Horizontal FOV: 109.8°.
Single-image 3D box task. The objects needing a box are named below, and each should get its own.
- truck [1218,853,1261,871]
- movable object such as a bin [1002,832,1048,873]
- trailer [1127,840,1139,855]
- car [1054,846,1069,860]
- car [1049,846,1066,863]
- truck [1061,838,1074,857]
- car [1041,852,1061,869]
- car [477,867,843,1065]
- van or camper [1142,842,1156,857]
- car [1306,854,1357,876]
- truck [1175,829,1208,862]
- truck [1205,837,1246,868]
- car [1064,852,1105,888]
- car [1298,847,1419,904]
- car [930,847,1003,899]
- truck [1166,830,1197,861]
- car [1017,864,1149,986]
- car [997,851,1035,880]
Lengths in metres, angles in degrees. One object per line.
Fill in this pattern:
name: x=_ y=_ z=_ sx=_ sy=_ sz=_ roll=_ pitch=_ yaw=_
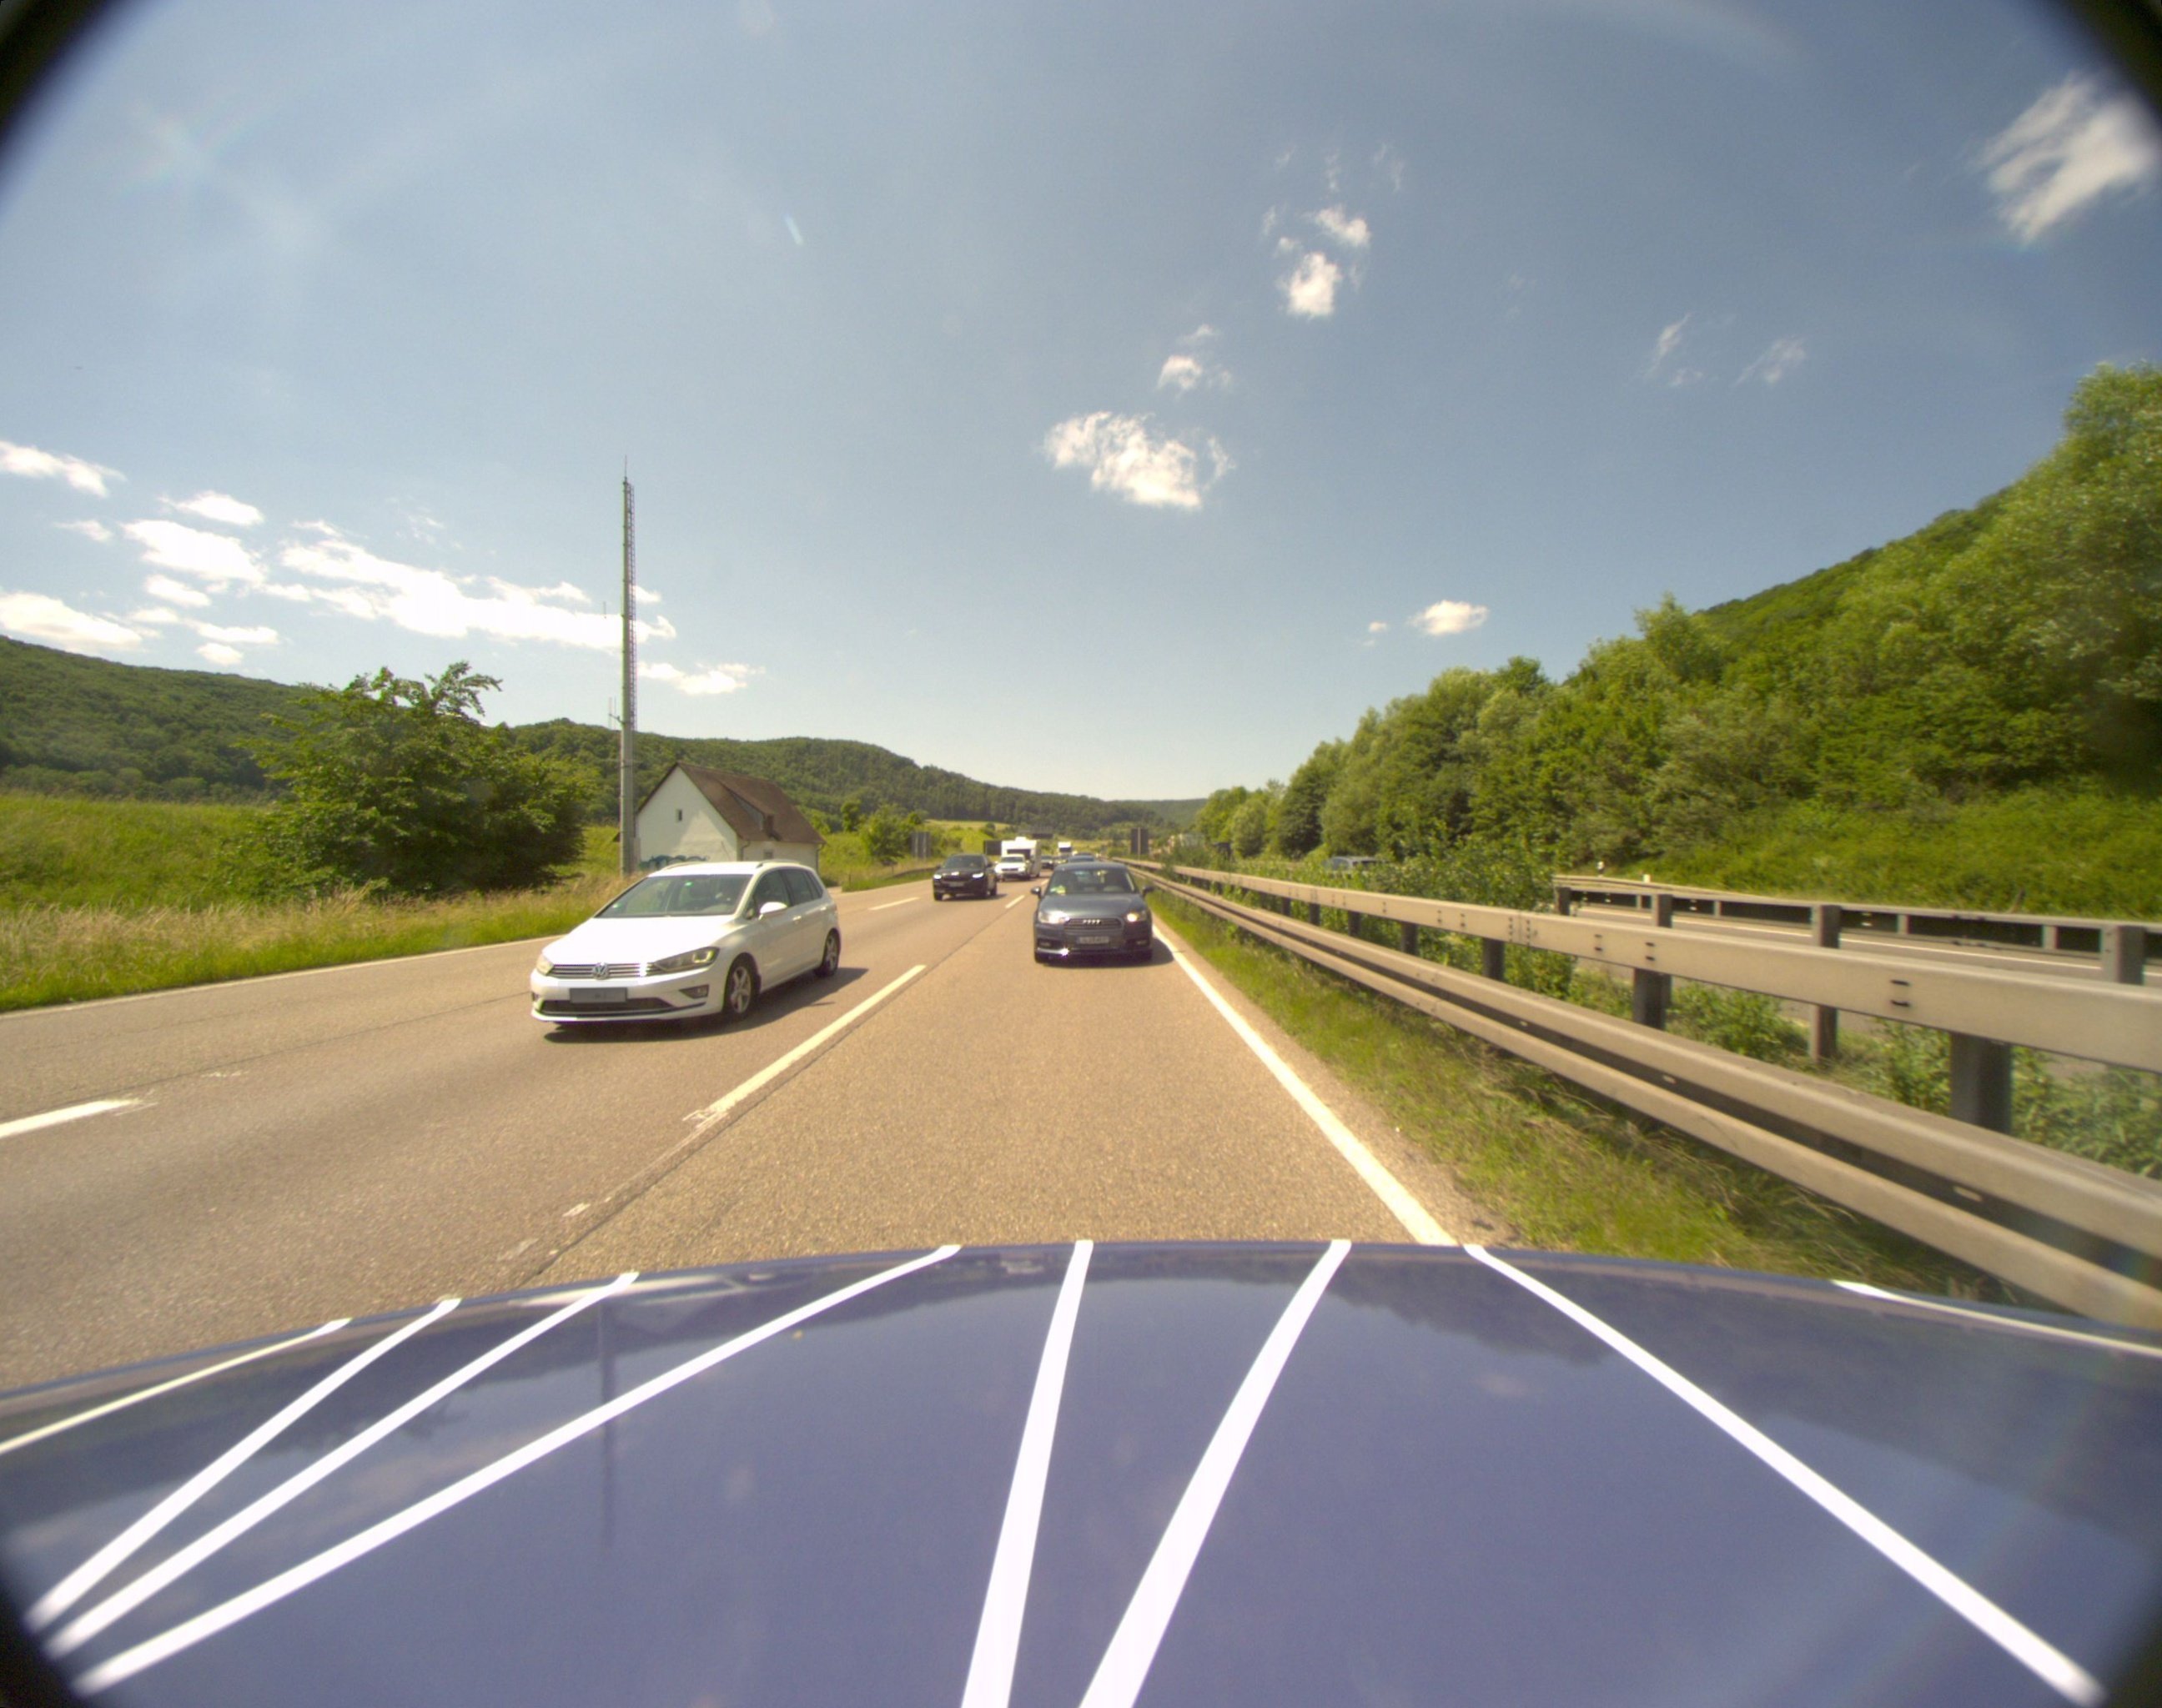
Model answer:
truck: x=12.491 y=0.586 z=60.383 sx=2.214 sy=1.326 sz=7.010 roll=-1 pitch=0 yaw=3
movable object such as a bin: x=-3.810 y=-0.132 z=52.688 sx=2.481 sy=2.616 sz=6.709 roll=-1 pitch=0 yaw=1
trailer: x=14.698 y=-1.769 z=215.447 sx=2.789 sy=3.976 sz=14.160 roll=0 pitch=0 yaw=1
car: x=-2.772 y=-0.158 z=110.511 sx=1.998 sy=2.002 sz=3.999 roll=-1 pitch=1 yaw=0
car: x=-2.855 y=0.043 z=91.709 sx=1.999 sy=2.002 sz=3.998 roll=-1 pitch=1 yaw=-3
truck: x=-2.675 y=-1.357 z=151.621 sx=2.336 sy=3.623 sz=7.005 roll=-1 pitch=0 yaw=1
car: x=-2.862 y=0.599 z=72.940 sx=1.711 sy=1.542 sz=4.000 roll=0 pitch=0 yaw=1
car: x=-4.150 y=0.968 z=8.386 sx=1.777 sy=1.532 sz=4.053 roll=-1 pitch=0 yaw=-1
van or camper: x=15.022 y=-0.941 z=168.458 sx=2.596 sy=3.316 sz=7.647 roll=0 pitch=1 yaw=1
car: x=16.810 y=0.715 z=51.141 sx=1.999 sy=1.348 sz=4.106 roll=-1 pitch=1 yaw=-1
truck: x=13.784 y=-1.050 z=95.375 sx=2.876 sy=3.957 sz=9.030 roll=1 pitch=1 yaw=0
truck: x=12.814 y=-0.127 z=67.887 sx=2.301 sy=2.573 sz=7.968 roll=-1 pitch=0 yaw=2
car: x=0.226 y=0.702 z=35.994 sx=1.835 sy=1.587 sz=4.000 roll=-1 pitch=1 yaw=2
car: x=8.186 y=0.557 z=22.941 sx=1.998 sy=1.510 sz=4.677 roll=-1 pitch=1 yaw=1
car: x=-4.098 y=0.633 z=27.792 sx=1.893 sy=1.761 sz=4.172 roll=0 pitch=0 yaw=2
truck: x=13.826 y=-1.153 z=104.996 sx=2.876 sy=3.983 sz=10.170 roll=-1 pitch=0 yaw=0
car: x=0.156 y=0.903 z=11.305 sx=1.591 sy=1.402 sz=4.001 roll=-1 pitch=0 yaw=4
car: x=-3.860 y=0.652 z=45.463 sx=1.821 sy=1.574 sz=4.000 roll=-1 pitch=0 yaw=1
